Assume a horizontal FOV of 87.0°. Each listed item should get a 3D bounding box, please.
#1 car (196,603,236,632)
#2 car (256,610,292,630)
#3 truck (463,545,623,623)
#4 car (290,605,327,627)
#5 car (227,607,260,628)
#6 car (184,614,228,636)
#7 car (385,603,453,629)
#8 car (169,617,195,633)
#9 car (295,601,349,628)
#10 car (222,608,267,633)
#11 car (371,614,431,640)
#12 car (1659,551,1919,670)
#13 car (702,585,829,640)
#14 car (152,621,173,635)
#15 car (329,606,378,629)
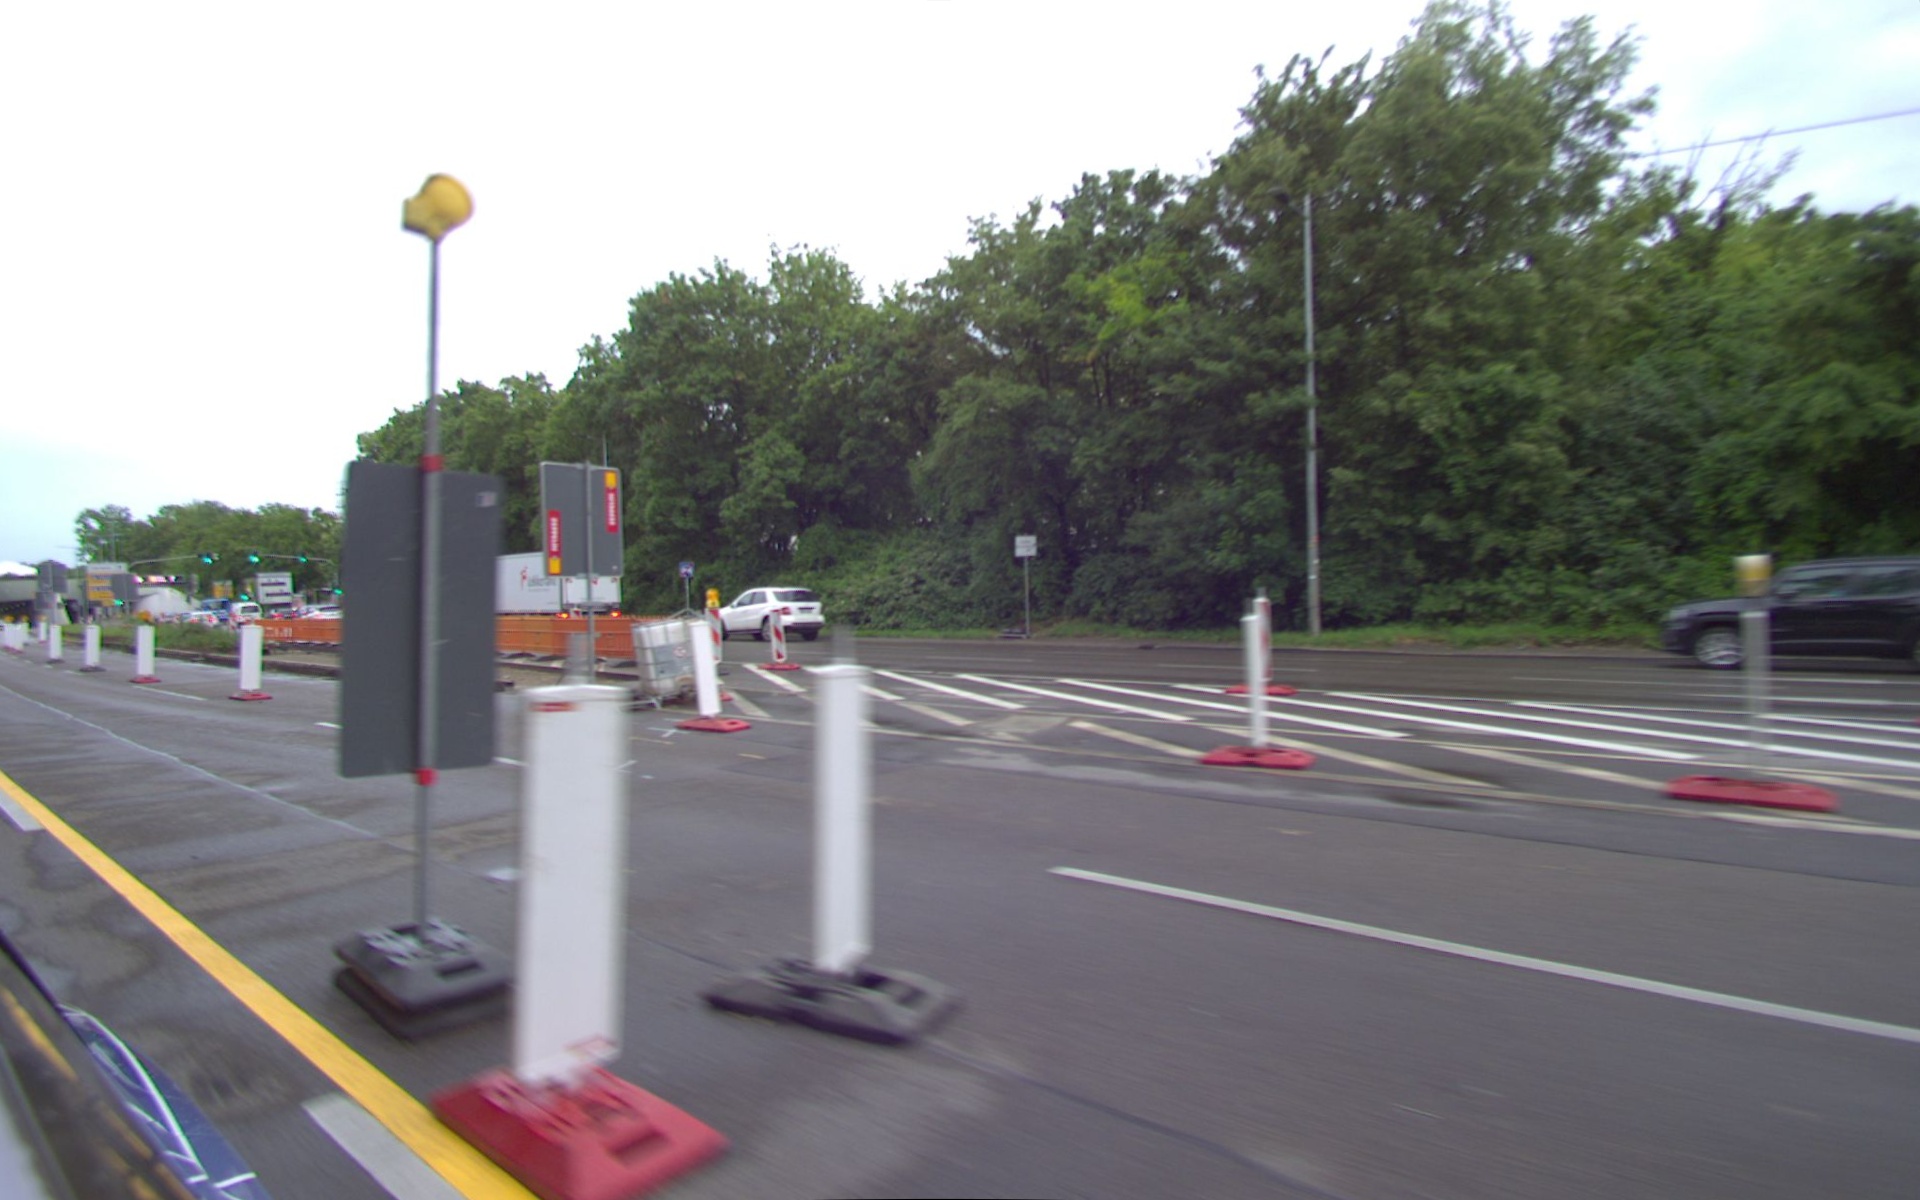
[{"bbox_3d":[-69.072,1.621,93.897,2.169,2.408,6.249,-4,1,-43],"label":"car"},{"bbox_3d":[-57.628,1.685,84.924,1.772,1.535,4.639,-3,2,-43],"label":"car"},{"bbox_3d":[-19.157,-0.621,46.023,10.149,3.172,2.765,-1,1,44],"label":"truck"},{"bbox_3d":[-49.173,1.187,76.372,1.651,1.535,3.793,-3,2,-43],"label":"car"},{"bbox_3d":[-74.099,1.840,104.648,2.011,1.989,4.994,-4,1,-43],"label":"car"},{"bbox_3d":[-55.109,1.828,73.930,4.679,1.497,1.835,-2,0,44],"label":"car"},{"bbox_3d":[-26.010,0.779,48.580,4.283,1.161,1.588,-1,1,43],"label":"car"},{"bbox_3d":[-64.825,2.104,84.290,1.413,1.209,3.303,-3,2,-43],"label":"car"},{"bbox_3d":[-38.893,0.891,61.643,4.040,1.562,1.815,-1,0,43],"label":"car"},{"bbox_3d":[-56.482,1.598,79.815,4.833,1.794,1.893,-2,1,43],"label":"car"},{"bbox_3d":[-32.804,1.555,59.385,4.368,1.389,1.790,-1,0,43],"label":"car"},{"bbox_3d":[13.201,0.160,15.270,4.197,1.660,1.618,-2,-1,41],"label":"car"},{"bbox_3d":[-6.675,0.471,34.488,4.719,1.736,1.824,-1,-3,43],"label":"car"},{"bbox_3d":[-77.047,2.658,97.775,1.529,1.209,4.655,-3,2,-38],"label":"car"},{"bbox_3d":[-40.702,1.199,67.868,3.896,1.436,1.771,-1,0,43],"label":"car"}]
